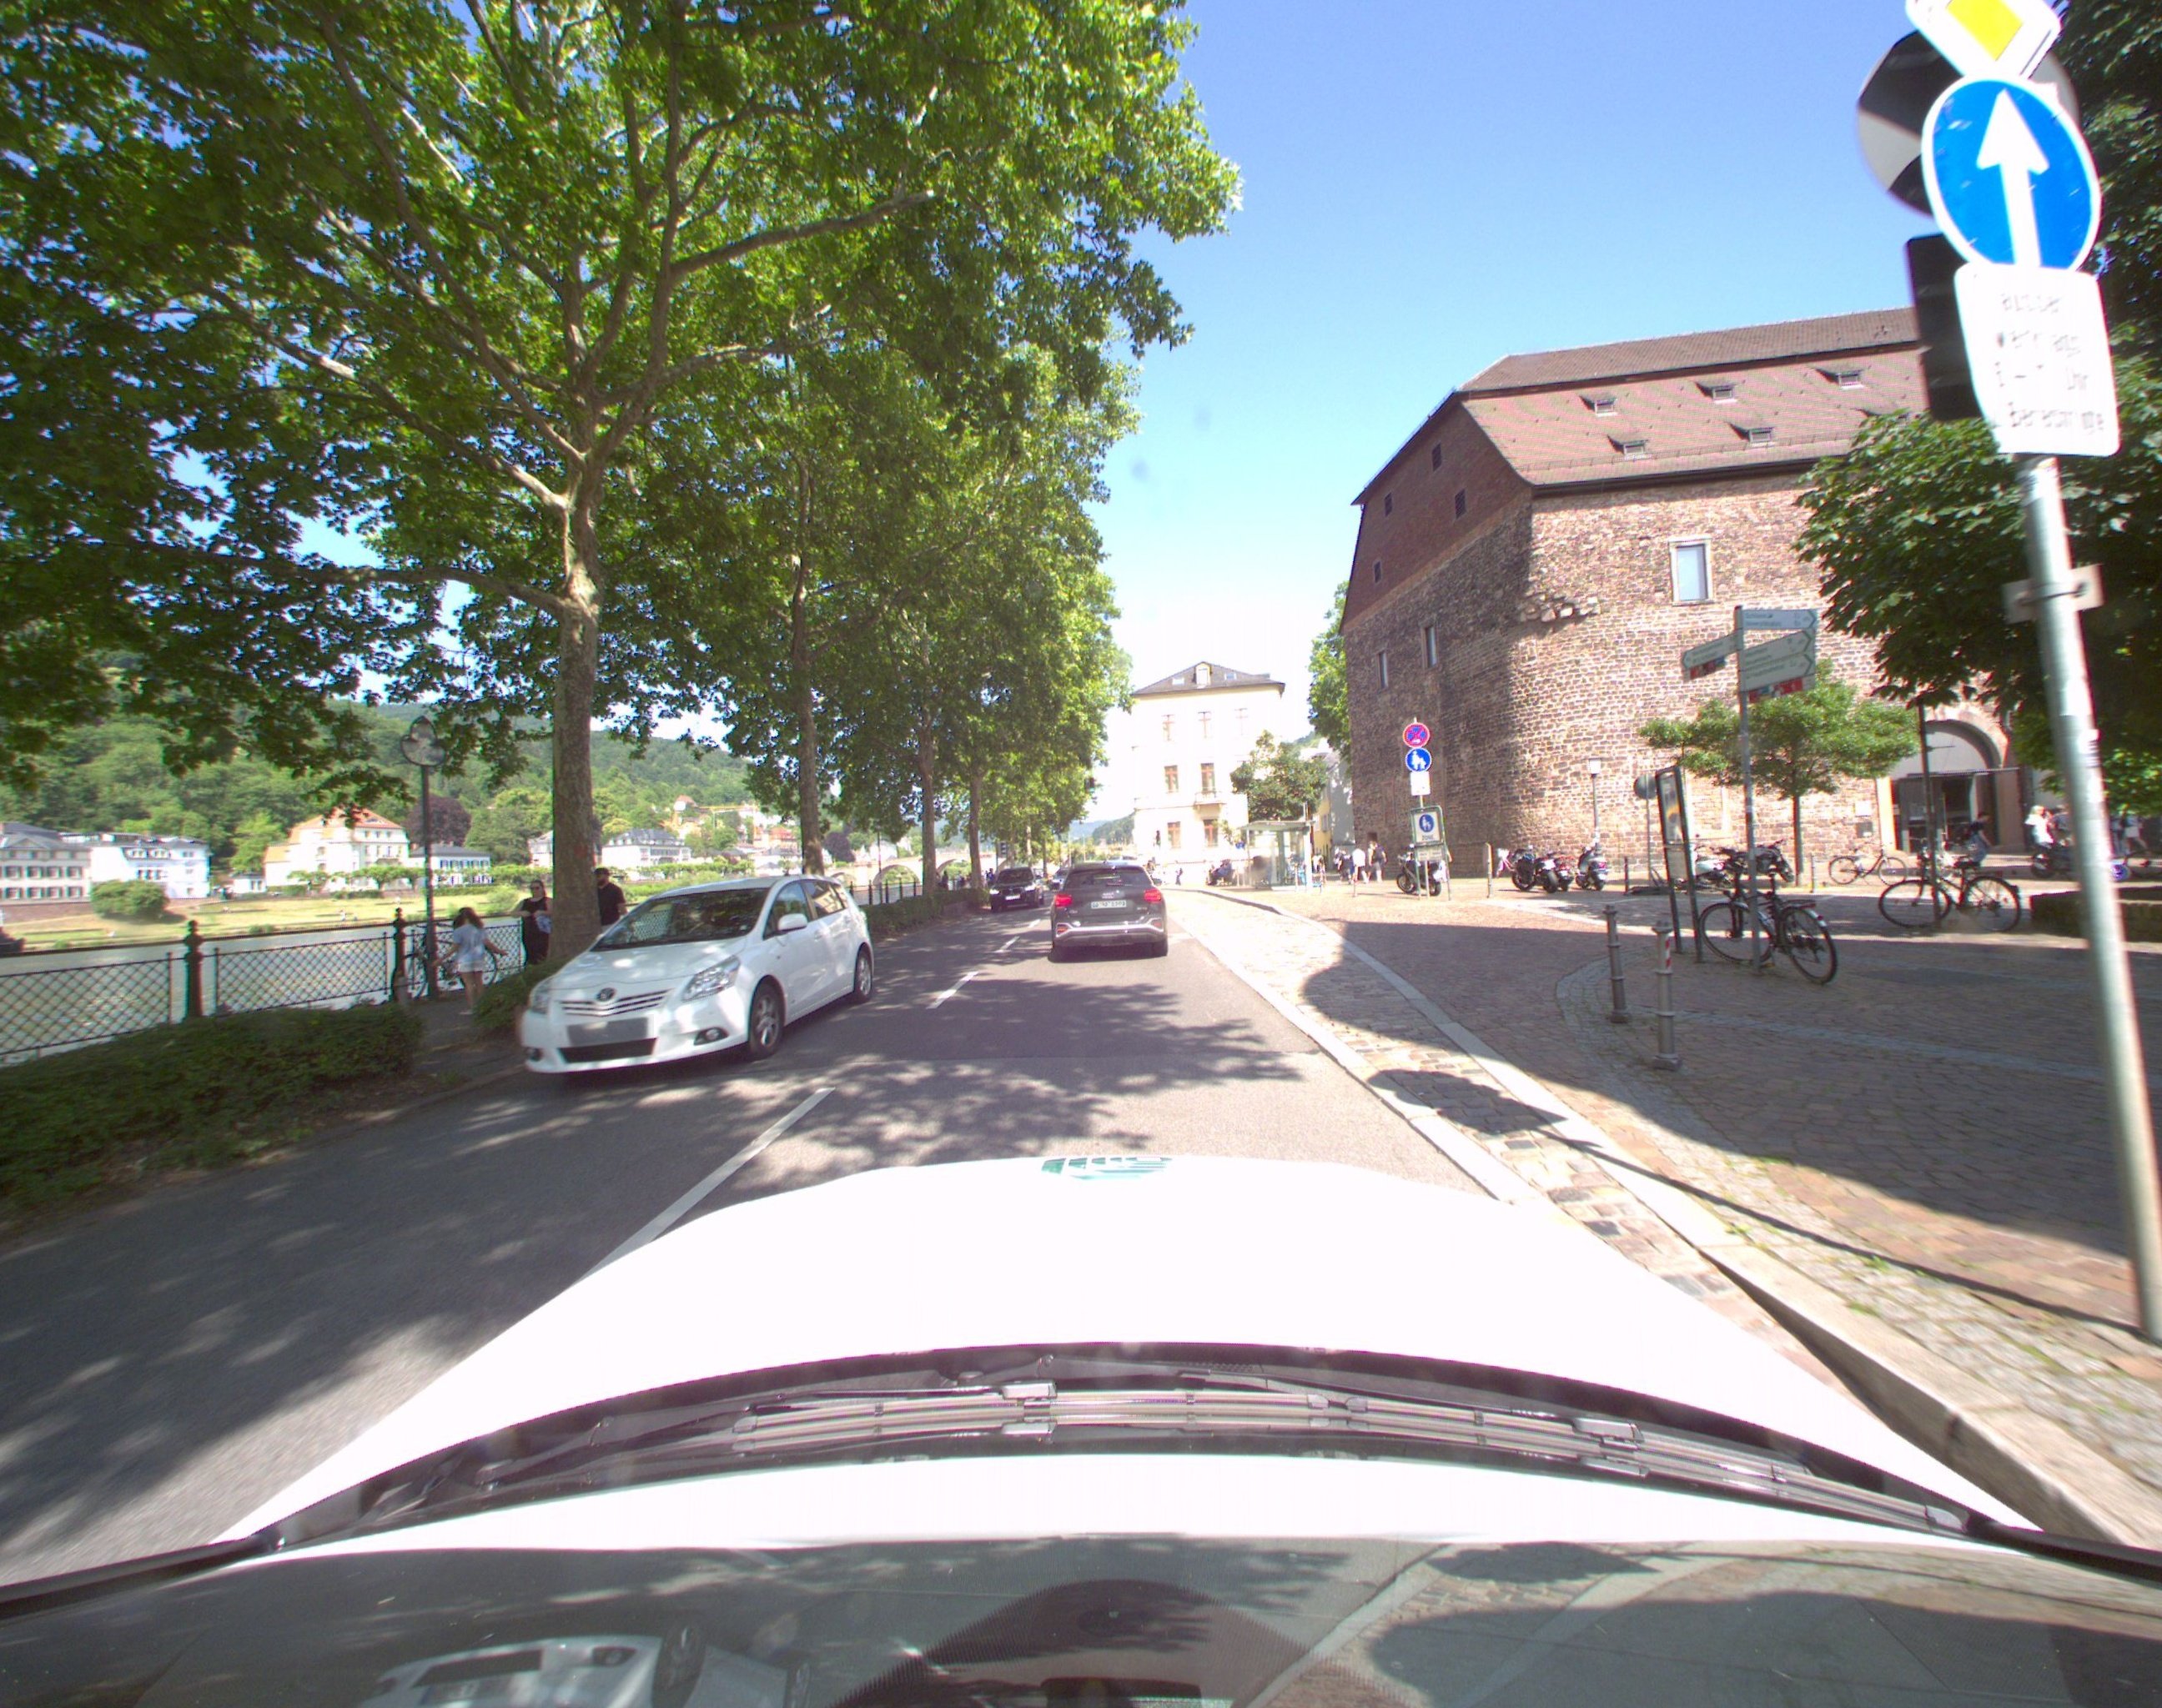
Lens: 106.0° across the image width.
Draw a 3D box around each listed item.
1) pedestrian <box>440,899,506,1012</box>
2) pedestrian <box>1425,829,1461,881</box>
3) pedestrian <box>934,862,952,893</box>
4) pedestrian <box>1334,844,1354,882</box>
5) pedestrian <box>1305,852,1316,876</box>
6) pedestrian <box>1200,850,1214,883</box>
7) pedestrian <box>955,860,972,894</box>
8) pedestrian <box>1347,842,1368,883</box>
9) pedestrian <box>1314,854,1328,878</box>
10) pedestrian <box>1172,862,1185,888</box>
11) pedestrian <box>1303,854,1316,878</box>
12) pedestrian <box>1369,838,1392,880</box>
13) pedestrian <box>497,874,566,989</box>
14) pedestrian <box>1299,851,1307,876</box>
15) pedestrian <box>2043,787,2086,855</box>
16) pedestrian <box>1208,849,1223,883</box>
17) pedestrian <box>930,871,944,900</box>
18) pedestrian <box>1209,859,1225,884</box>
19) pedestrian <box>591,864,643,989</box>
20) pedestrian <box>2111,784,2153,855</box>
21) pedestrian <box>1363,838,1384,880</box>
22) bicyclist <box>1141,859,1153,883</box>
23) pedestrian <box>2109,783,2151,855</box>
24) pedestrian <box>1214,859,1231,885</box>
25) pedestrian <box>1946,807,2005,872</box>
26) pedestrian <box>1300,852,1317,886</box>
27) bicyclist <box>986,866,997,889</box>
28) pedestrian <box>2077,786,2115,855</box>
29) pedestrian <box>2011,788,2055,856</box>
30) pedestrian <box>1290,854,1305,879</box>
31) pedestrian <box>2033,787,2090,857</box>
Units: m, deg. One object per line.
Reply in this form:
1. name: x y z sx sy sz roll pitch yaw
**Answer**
1. pedestrian: -7.638 1.261 10.234 0.476 1.363 0.418 -2 -1 6
2. pedestrian: 14.071 0.035 31.673 0.833 1.949 0.906 -2 -1 -36
3. pedestrian: -8.001 1.360 47.340 0.906 1.811 0.586 -1 -2 6
4. pedestrian: 12.684 0.440 39.251 0.649 1.802 0.847 -2 -1 1
5. pedestrian: 15.039 0.679 53.394 0.619 1.532 0.467 -1 -2 5
6. pedestrian: 7.826 0.773 50.520 0.632 2.014 0.670 -2 -2 31
7. pedestrian: -7.141 1.386 49.453 0.906 2.014 0.586 -1 -2 6
8. pedestrian: 12.885 0.389 37.925 0.666 1.884 0.821 -1 -2 1
9. pedestrian: 20.716 1.029 70.316 0.936 2.014 0.808 -1 -2 2
10. pedestrian: 5.875 1.270 49.270 0.691 1.500 0.513 -1 -2 -3
11. pedestrian: 19.734 1.035 70.319 0.836 2.014 0.738 -1 -2 2
12. pedestrian: 14.418 0.252 39.233 0.727 2.014 0.878 -1 -2 2
13. pedestrian: -8.429 1.168 12.506 0.599 1.685 0.583 -3 -1 0
14. pedestrian: 14.562 0.624 53.424 0.447 1.681 0.467 -1 -2 5
15. pedestrian: 29.853 -0.981 24.730 0.557 2.014 0.655 -2 -2 30
16. pedestrian: 8.231 0.732 49.788 0.632 2.014 0.670 -2 -2 31
17. pedestrian: -8.177 1.793 46.228 0.621 1.619 0.586 -1 -2 6
18. pedestrian: 6.707 0.859 40.139 0.662 1.231 0.640 -1 -2 -4
19. pedestrian: -7.117 1.096 12.500 0.532 1.887 0.437 -1 -1 1
20. pedestrian: 30.425 -1.001 23.582 0.438 2.014 0.527 -1 -2 14
21. pedestrian: 13.759 0.242 38.373 0.666 1.920 0.821 -1 -2 1
22. bicyclist: 3.937 1.020 48.472 0.604 1.450 0.590 -1 -2 -3
23. pedestrian: 29.777 -0.976 23.118 0.619 2.014 0.441 0 -2 -14
24. pedestrian: 6.817 0.862 39.362 0.662 1.212 0.640 -1 -2 -4
25. pedestrian: 24.059 -0.380 21.912 0.799 1.662 0.660 -4 -1 26
26. pedestrian: 9.346 0.626 33.446 0.555 1.385 0.588 -1 -2 4
27. bicyclist: -5.221 1.350 47.399 0.565 1.311 0.551 -1 -2 -3
28. pedestrian: 30.272 -0.994 24.289 0.441 2.014 0.506 -1 -2 -10
29. pedestrian: 28.921 -0.951 24.739 0.738 2.014 0.793 1 -2 -39
30. pedestrian: 17.287 0.991 65.117 0.941 2.014 0.808 -1 -2 2
31. pedestrian: 28.587 -0.919 23.760 0.691 2.014 0.769 0 -2 -11
